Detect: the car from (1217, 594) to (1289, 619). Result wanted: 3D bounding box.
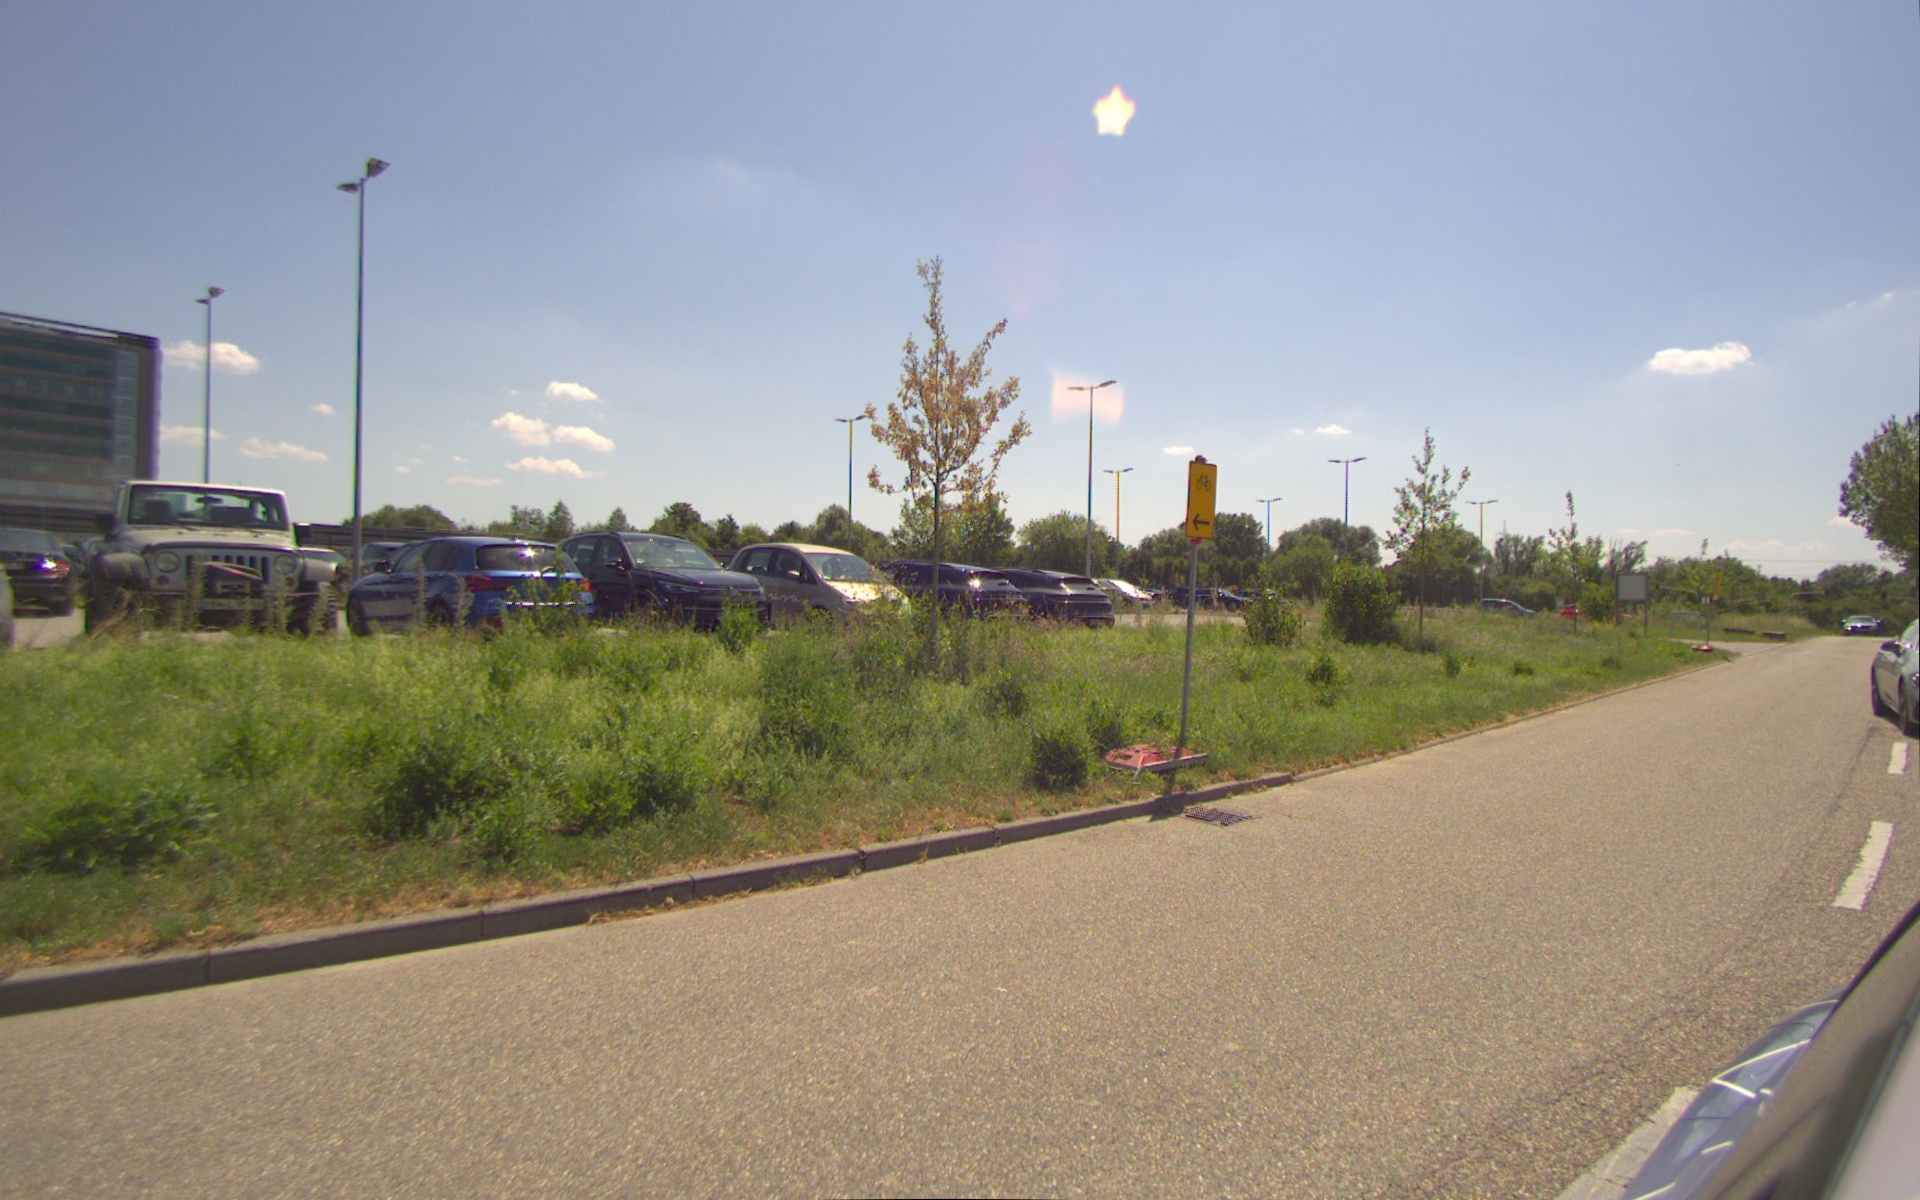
[{"bbox_3d":[18.037,0.390,62.372,3.983,1.368,1.623,3,2,40],"label":"car"}]

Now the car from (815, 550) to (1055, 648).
[{"bbox_3d":[-0.557,-0.086,18.558,4.388,1.565,1.787,3,2,43],"label":"car"}]

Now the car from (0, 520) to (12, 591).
[{"bbox_3d":[-22.297,-1.022,22.448,3.627,1.518,1.574,3,2,42],"label":"car"}]

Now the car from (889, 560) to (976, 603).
[{"bbox_3d":[-1.146,-0.764,41.127,3.428,1.565,1.536,4,2,43],"label":"car"}]

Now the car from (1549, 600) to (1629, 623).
[{"bbox_3d":[38.580,0.726,62.101,3.981,1.368,1.623,-1,0,40],"label":"car"}]

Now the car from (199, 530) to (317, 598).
[{"bbox_3d":[-16.895,-0.873,24.307,3.627,1.518,1.574,3,2,42],"label":"car"}]

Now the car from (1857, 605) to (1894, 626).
[{"bbox_3d":[62.670,1.063,69.271,1.668,1.392,4.425,-2,-2,44],"label":"car"}]

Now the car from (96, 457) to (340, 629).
[{"bbox_3d":[-8.262,-0.576,11.141,1.844,1.546,3.743,-2,2,-41],"label":"car"}]

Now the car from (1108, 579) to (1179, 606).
[{"bbox_3d":[9.730,-0.414,53.665,3.452,1.239,1.442,4,2,43],"label":"car"}]

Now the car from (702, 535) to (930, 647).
[{"bbox_3d":[-2.448,-0.206,16.670,3.835,1.644,1.593,3,2,42],"label":"car"}]

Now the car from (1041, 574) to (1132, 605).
[{"bbox_3d":[6.097,-0.527,49.080,4.289,1.313,1.533,4,2,44],"label":"car"}]

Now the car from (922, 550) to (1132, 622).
[{"bbox_3d":[1.266,-0.236,20.397,1.878,1.308,3.988,-1,0,-45],"label":"car"}]

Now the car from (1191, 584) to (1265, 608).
[{"bbox_3d":[16.002,-0.247,60.473,3.981,1.368,1.623,-1,0,40],"label":"car"}]

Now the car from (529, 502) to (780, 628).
[{"bbox_3d":[-4.602,-0.424,14.929,4.021,1.448,1.662,-5,-3,41],"label":"car"}]

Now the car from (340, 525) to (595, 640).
[{"bbox_3d":[-6.446,-0.252,13.065,3.930,1.273,1.562,1,2,41],"label":"car"}]

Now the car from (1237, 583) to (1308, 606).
[{"bbox_3d":[19.820,-0.318,64.309,3.981,1.368,1.623,-1,0,40],"label":"car"}]

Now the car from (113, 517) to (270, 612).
[{"bbox_3d":[-14.587,-0.680,19.150,3.627,1.617,1.742,3,2,42],"label":"car"}]

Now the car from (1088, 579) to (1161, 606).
[{"bbox_3d":[8.315,-0.390,51.353,3.452,1.239,1.442,3,2,43],"label":"car"}]

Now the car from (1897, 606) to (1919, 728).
[{"bbox_3d":[13.193,0.807,12.756,1.891,1.401,4.563,0,-1,41],"label":"car"}]

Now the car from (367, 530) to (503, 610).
[{"bbox_3d":[-11.556,-0.610,22.211,3.404,1.594,1.500,-1,0,41],"label":"car"}]

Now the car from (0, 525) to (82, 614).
[{"bbox_3d":[-16.149,-0.553,17.055,3.835,1.379,1.627,3,2,42],"label":"car"}]

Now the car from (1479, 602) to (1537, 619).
[{"bbox_3d":[45.503,0.844,84.080,3.981,1.368,1.623,-1,0,40],"label":"car"}]

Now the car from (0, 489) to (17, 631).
[{"bbox_3d":[-9.697,-0.348,9.187,3.260,1.196,1.478,1,2,44],"label":"car"}]
